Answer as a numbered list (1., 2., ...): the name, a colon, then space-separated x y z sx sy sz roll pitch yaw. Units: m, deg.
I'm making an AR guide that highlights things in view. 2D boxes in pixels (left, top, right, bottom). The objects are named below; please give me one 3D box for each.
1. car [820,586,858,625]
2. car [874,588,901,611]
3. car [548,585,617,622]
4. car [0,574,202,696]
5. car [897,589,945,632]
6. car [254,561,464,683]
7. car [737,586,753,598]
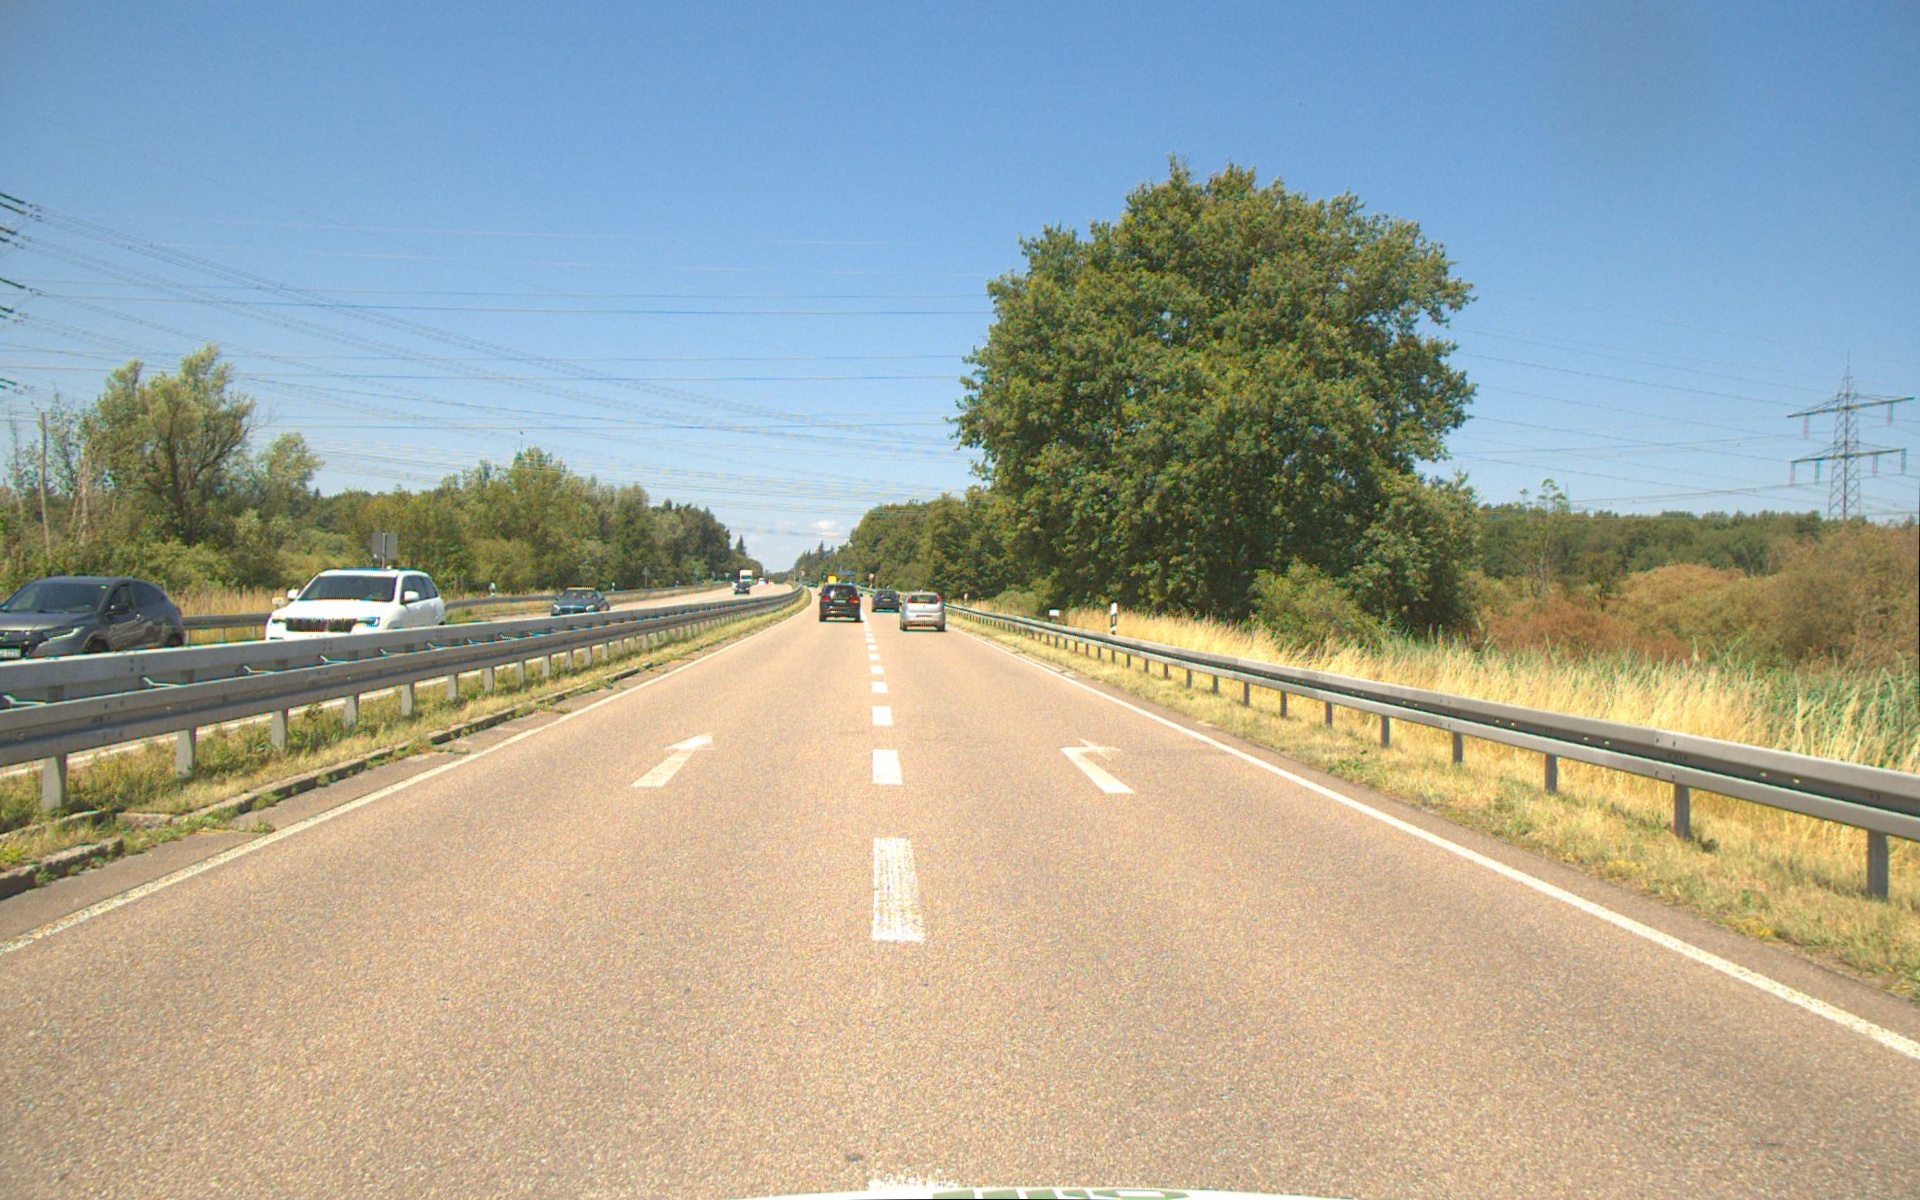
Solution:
1. car: -5.598 0.233 76.844 1.608 1.682 3.571 3 0 -4
2. car: -4.658 -0.033 106.843 1.607 1.366 3.573 3 0 -2
3. car: -15.218 0.123 66.913 1.886 1.409 4.655 0 1 -3
4. car: -12.976 0.450 24.431 1.805 1.646 4.168 1 0 -3
5. car: -1.517 0.382 63.439 1.608 1.493 3.416 3 0 -4
6. car: -9.937 0.317 27.789 1.940 1.839 4.965 1 0 -3
7. car: -26.309 -1.032 202.270 1.810 1.437 4.674 1 0 -7
